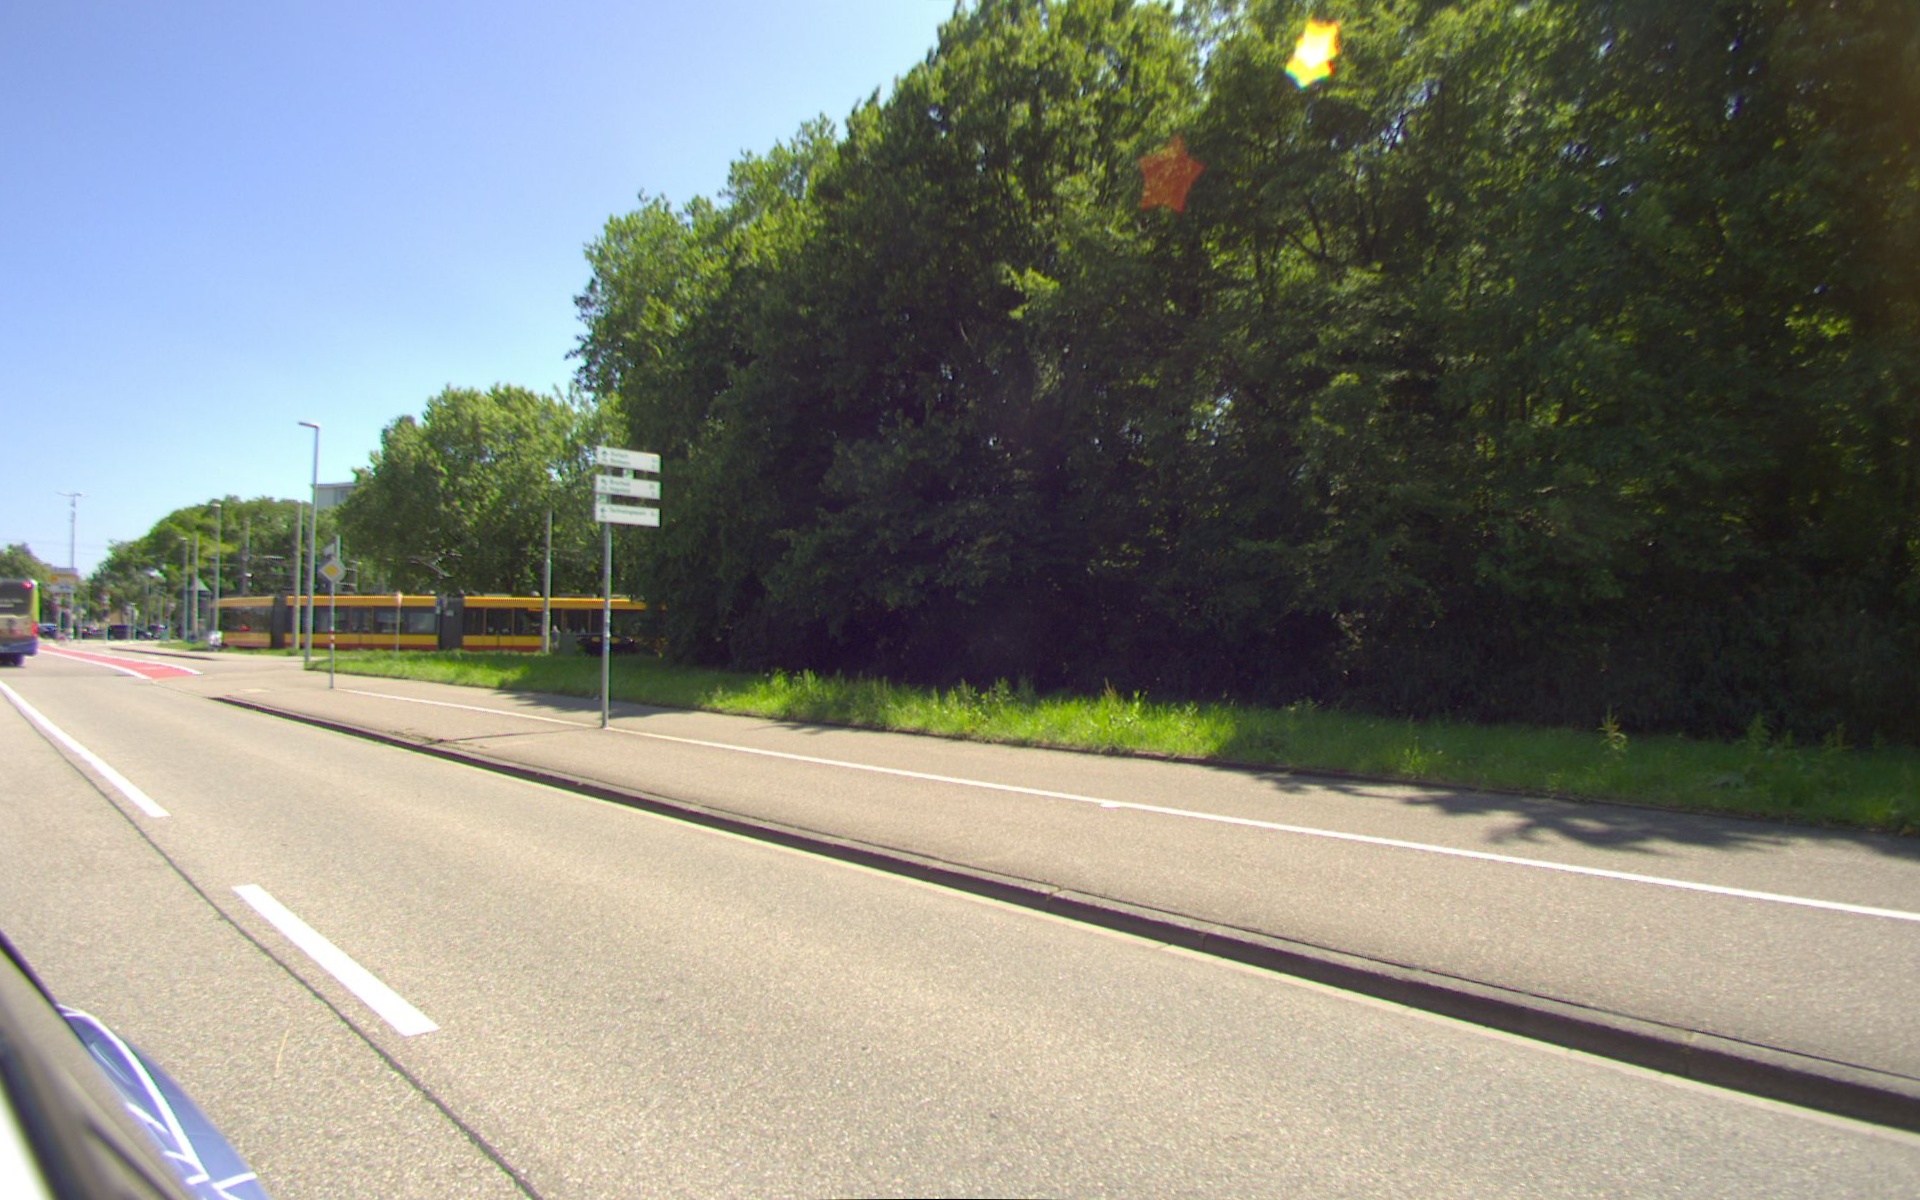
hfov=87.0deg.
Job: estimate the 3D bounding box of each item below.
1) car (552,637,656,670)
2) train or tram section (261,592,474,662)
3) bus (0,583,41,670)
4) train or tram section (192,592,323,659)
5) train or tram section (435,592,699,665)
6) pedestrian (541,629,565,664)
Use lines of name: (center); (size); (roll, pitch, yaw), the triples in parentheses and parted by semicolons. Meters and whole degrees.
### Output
car: (-16.565, 2.491, 47.141); (4.242, 1.428, 1.670); (2, -2, -37)
train or tram section: (-34.141, 1.553, 58.372); (11.499, 3.788, 3.014); (0, -4, 13)
bus: (-38.692, 1.013, 39.206); (11.926, 3.069, 2.722); (-1, -4, 40)
train or tram section: (-44.233, 1.695, 63.463); (12.976, 3.788, 2.987); (-2, -4, 38)
train or tram section: (-22.310, 1.715, 58.442); (13.814, 3.788, 3.033); (2, -4, -13)
pedestrian: (-20.118, 2.311, 50.012); (0.843, 1.723, 0.809); (0, -2, 1)
